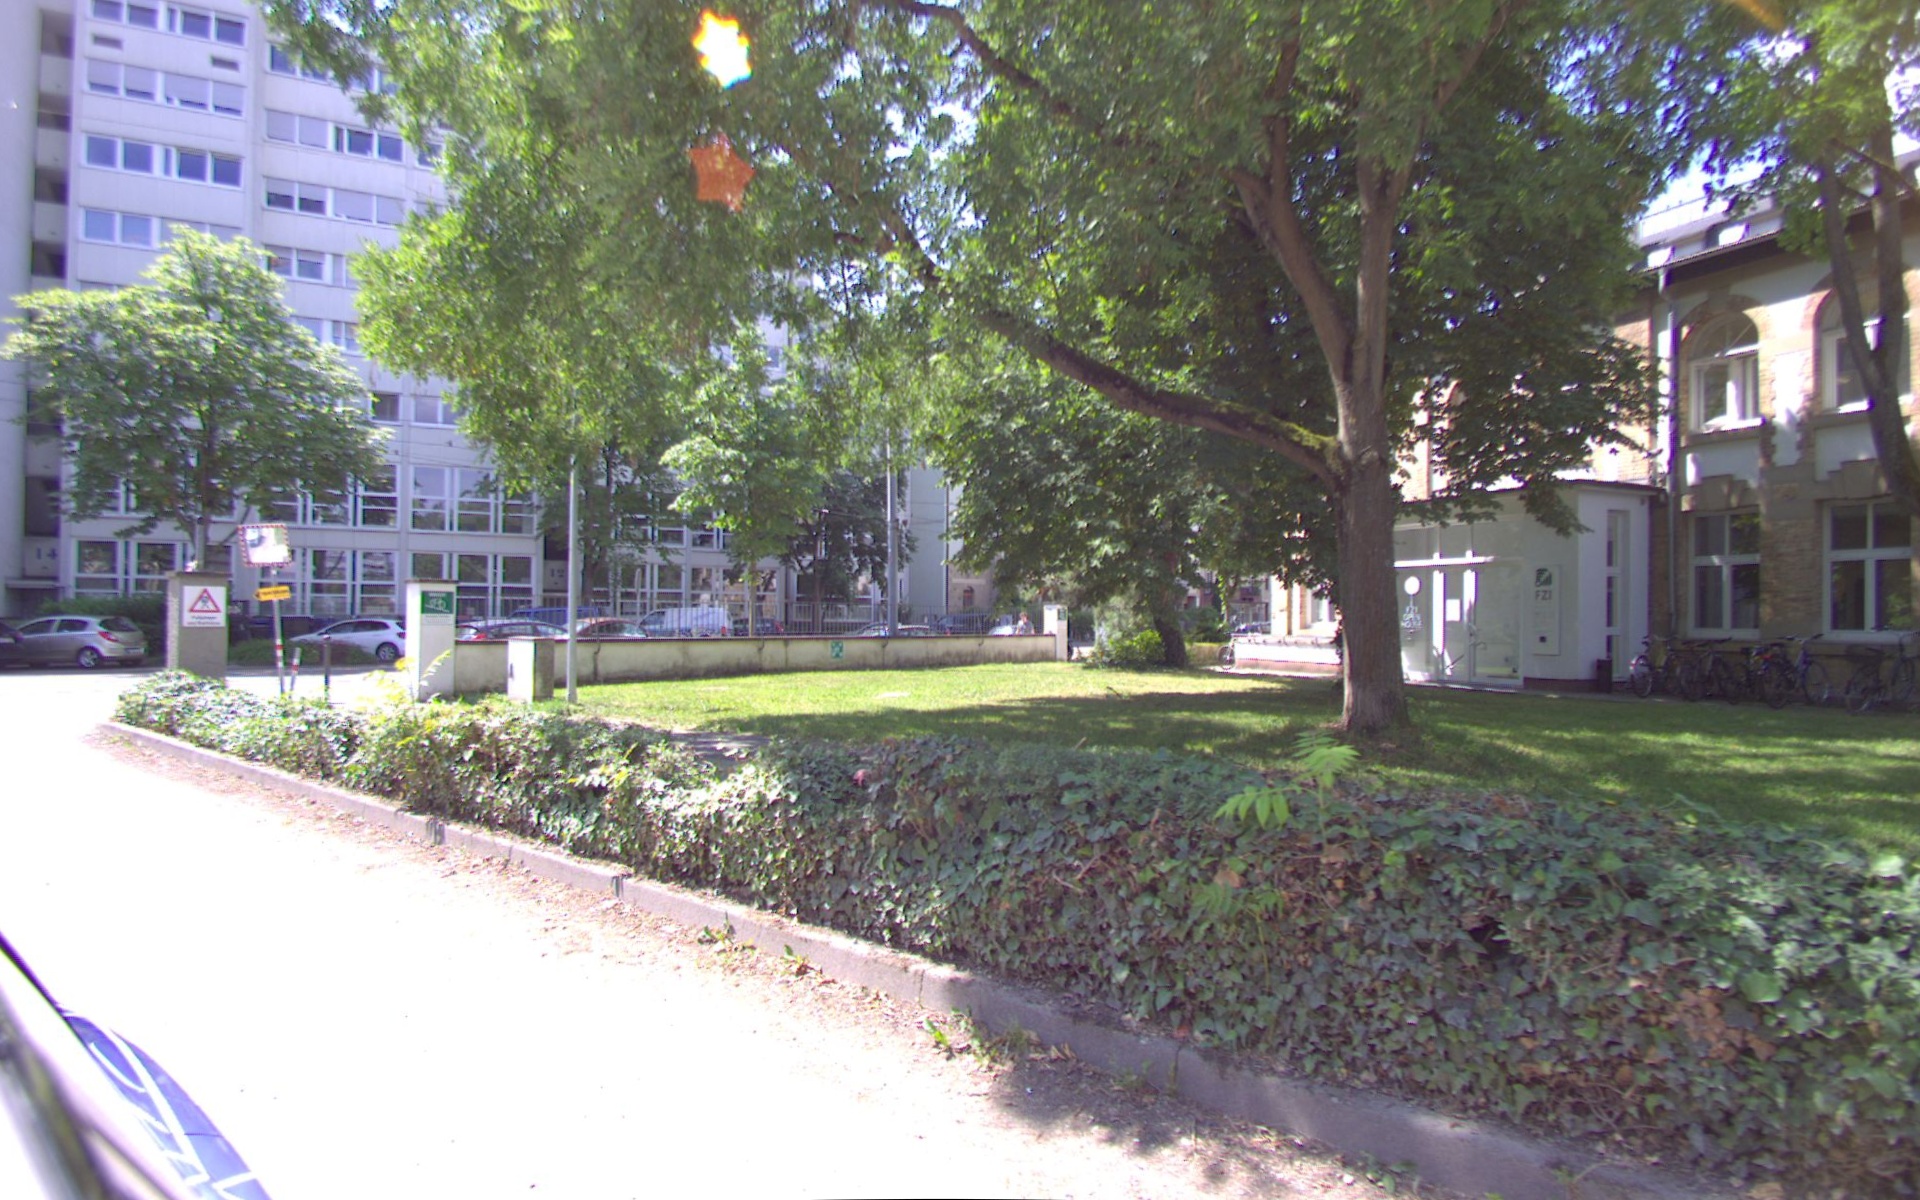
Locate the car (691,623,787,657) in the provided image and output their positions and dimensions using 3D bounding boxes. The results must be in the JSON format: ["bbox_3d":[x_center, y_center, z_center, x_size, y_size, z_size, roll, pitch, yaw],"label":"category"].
[{"bbox_3d":[-9.980,1.816,45.821,3.948,1.497,1.668,0,-2,4],"label":"car"}]

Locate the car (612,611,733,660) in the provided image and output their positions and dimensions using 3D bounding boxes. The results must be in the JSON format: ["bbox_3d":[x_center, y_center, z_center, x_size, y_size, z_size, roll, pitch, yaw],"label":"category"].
[{"bbox_3d":[-12.199,1.520,43.138,4.567,2.029,1.999,0,-2,1],"label":"car"}]

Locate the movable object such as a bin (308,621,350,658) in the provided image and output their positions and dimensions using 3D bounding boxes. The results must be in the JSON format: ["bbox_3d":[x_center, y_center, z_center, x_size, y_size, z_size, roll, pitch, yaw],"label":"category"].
[{"bbox_3d":[-23.401,1.449,37.522,0.970,1.340,1.063,-2,-2,40],"label":"movable object such as a bin"}]

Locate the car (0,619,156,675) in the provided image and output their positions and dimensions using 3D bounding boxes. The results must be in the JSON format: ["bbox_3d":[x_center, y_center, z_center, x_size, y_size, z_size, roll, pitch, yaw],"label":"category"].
[{"bbox_3d":[-24.592,1.279,27.826,3.484,1.473,1.757,0,-2,-8],"label":"car"}]

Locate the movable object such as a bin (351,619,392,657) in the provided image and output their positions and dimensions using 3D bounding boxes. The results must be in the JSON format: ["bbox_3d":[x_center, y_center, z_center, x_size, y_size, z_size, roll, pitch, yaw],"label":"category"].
[{"bbox_3d":[-22.557,1.449,38.787,1.164,1.409,1.038,1,-3,-44],"label":"movable object such as a bin"}]

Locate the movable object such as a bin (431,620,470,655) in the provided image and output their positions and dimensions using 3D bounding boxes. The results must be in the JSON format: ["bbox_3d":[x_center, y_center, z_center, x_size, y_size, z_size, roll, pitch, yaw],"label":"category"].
[{"bbox_3d":[-20.638,1.505,40.974,1.164,1.409,1.038,1,-3,-44],"label":"movable object such as a bin"}]

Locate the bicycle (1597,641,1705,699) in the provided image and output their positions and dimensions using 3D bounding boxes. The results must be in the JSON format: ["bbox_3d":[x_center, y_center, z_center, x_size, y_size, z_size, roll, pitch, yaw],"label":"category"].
[{"bbox_3d":[11.761,1.163,17.207,2.221,0.897,0.657,1,-1,-32],"label":"bicycle"}]

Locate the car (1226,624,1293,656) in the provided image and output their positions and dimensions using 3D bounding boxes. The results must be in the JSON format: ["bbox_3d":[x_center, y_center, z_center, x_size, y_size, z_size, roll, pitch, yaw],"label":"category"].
[{"bbox_3d":[15.793,2.089,53.296,1.730,1.627,3.941,-2,-3,44],"label":"car"}]

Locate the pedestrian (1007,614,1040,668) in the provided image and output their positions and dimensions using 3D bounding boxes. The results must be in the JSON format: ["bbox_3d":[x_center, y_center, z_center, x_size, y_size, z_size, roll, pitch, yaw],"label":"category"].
[{"bbox_3d":[1.899,1.208,30.231,0.696,1.579,0.735,-1,-2,36],"label":"pedestrian"}]

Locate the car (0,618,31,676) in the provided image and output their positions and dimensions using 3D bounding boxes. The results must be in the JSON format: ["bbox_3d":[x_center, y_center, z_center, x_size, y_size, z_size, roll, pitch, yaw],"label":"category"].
[{"bbox_3d":[-26.367,1.185,25.464,4.131,1.481,1.757,0,-2,-8],"label":"car"}]

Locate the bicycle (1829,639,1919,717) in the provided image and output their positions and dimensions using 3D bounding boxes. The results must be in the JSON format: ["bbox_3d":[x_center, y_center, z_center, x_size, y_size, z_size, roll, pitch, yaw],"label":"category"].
[{"bbox_3d":[13.292,1.084,14.509,2.221,1.019,0.609,1,-1,-32],"label":"bicycle"}]

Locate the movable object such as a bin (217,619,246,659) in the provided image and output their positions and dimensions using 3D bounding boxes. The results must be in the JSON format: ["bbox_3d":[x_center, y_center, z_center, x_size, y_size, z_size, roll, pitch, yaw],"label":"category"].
[{"bbox_3d":[-26.064,1.387,36.213,0.791,1.416,0.769,1,-2,-38],"label":"movable object such as a bin"}]

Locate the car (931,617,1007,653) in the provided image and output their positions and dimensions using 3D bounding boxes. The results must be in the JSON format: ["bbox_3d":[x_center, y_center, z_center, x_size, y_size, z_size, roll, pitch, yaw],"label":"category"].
[{"bbox_3d":[0.542,2.000,58.590,3.972,2.029,1.986,-1,-2,21],"label":"car"}]

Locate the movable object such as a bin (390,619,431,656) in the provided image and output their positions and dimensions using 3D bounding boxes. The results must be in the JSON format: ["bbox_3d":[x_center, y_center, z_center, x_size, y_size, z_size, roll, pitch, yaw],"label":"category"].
[{"bbox_3d":[-21.636,1.476,39.840,1.164,1.409,1.038,1,-3,-44],"label":"movable object such as a bin"}]

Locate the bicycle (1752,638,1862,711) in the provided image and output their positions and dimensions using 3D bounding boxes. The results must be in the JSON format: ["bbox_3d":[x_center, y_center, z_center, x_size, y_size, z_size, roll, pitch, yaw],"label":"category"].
[{"bbox_3d":[12.924,1.104,15.420,2.221,1.019,0.609,1,-1,-32],"label":"bicycle"}]

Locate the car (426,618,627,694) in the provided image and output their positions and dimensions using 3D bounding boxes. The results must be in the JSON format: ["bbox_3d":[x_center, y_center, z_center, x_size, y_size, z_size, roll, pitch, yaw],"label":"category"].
[{"bbox_3d":[-9.133,1.180,21.569,1.585,1.468,3.682,-4,-4,34],"label":"car"}]

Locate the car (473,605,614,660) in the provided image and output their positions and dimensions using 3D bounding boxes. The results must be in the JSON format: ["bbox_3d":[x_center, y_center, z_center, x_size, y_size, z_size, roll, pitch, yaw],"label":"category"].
[{"bbox_3d":[-15.713,1.228,38.367,4.558,2.029,2.003,0,-2,-7],"label":"car"}]

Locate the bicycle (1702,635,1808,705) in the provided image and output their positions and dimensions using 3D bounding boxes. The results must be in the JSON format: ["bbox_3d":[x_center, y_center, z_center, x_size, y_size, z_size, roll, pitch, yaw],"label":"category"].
[{"bbox_3d":[12.565,1.079,15.974,2.221,1.019,0.572,1,-1,-32],"label":"bicycle"}]

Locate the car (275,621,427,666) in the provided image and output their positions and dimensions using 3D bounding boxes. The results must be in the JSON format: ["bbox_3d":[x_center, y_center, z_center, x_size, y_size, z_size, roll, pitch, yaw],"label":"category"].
[{"bbox_3d":[-19.888,1.417,33.195,3.918,1.424,1.718,0,-2,-8],"label":"car"}]

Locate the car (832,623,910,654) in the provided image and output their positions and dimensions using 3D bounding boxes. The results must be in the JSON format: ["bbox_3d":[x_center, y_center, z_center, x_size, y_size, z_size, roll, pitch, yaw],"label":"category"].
[{"bbox_3d":[-4.733,2.032,53.718,3.936,1.397,1.754,3,0,-8],"label":"car"}]

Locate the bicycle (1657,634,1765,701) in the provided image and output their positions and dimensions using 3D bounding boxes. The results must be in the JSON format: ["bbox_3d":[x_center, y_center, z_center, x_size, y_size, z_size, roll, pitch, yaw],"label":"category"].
[{"bbox_3d":[12.312,1.078,16.578,2.221,1.019,0.634,1,-1,-32],"label":"bicycle"}]

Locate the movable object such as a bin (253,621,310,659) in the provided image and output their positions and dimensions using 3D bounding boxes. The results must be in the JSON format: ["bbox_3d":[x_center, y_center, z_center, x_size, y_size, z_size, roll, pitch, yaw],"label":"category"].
[{"bbox_3d":[-24.314,1.415,36.261,1.125,1.340,1.433,-2,-2,40],"label":"movable object such as a bin"}]
